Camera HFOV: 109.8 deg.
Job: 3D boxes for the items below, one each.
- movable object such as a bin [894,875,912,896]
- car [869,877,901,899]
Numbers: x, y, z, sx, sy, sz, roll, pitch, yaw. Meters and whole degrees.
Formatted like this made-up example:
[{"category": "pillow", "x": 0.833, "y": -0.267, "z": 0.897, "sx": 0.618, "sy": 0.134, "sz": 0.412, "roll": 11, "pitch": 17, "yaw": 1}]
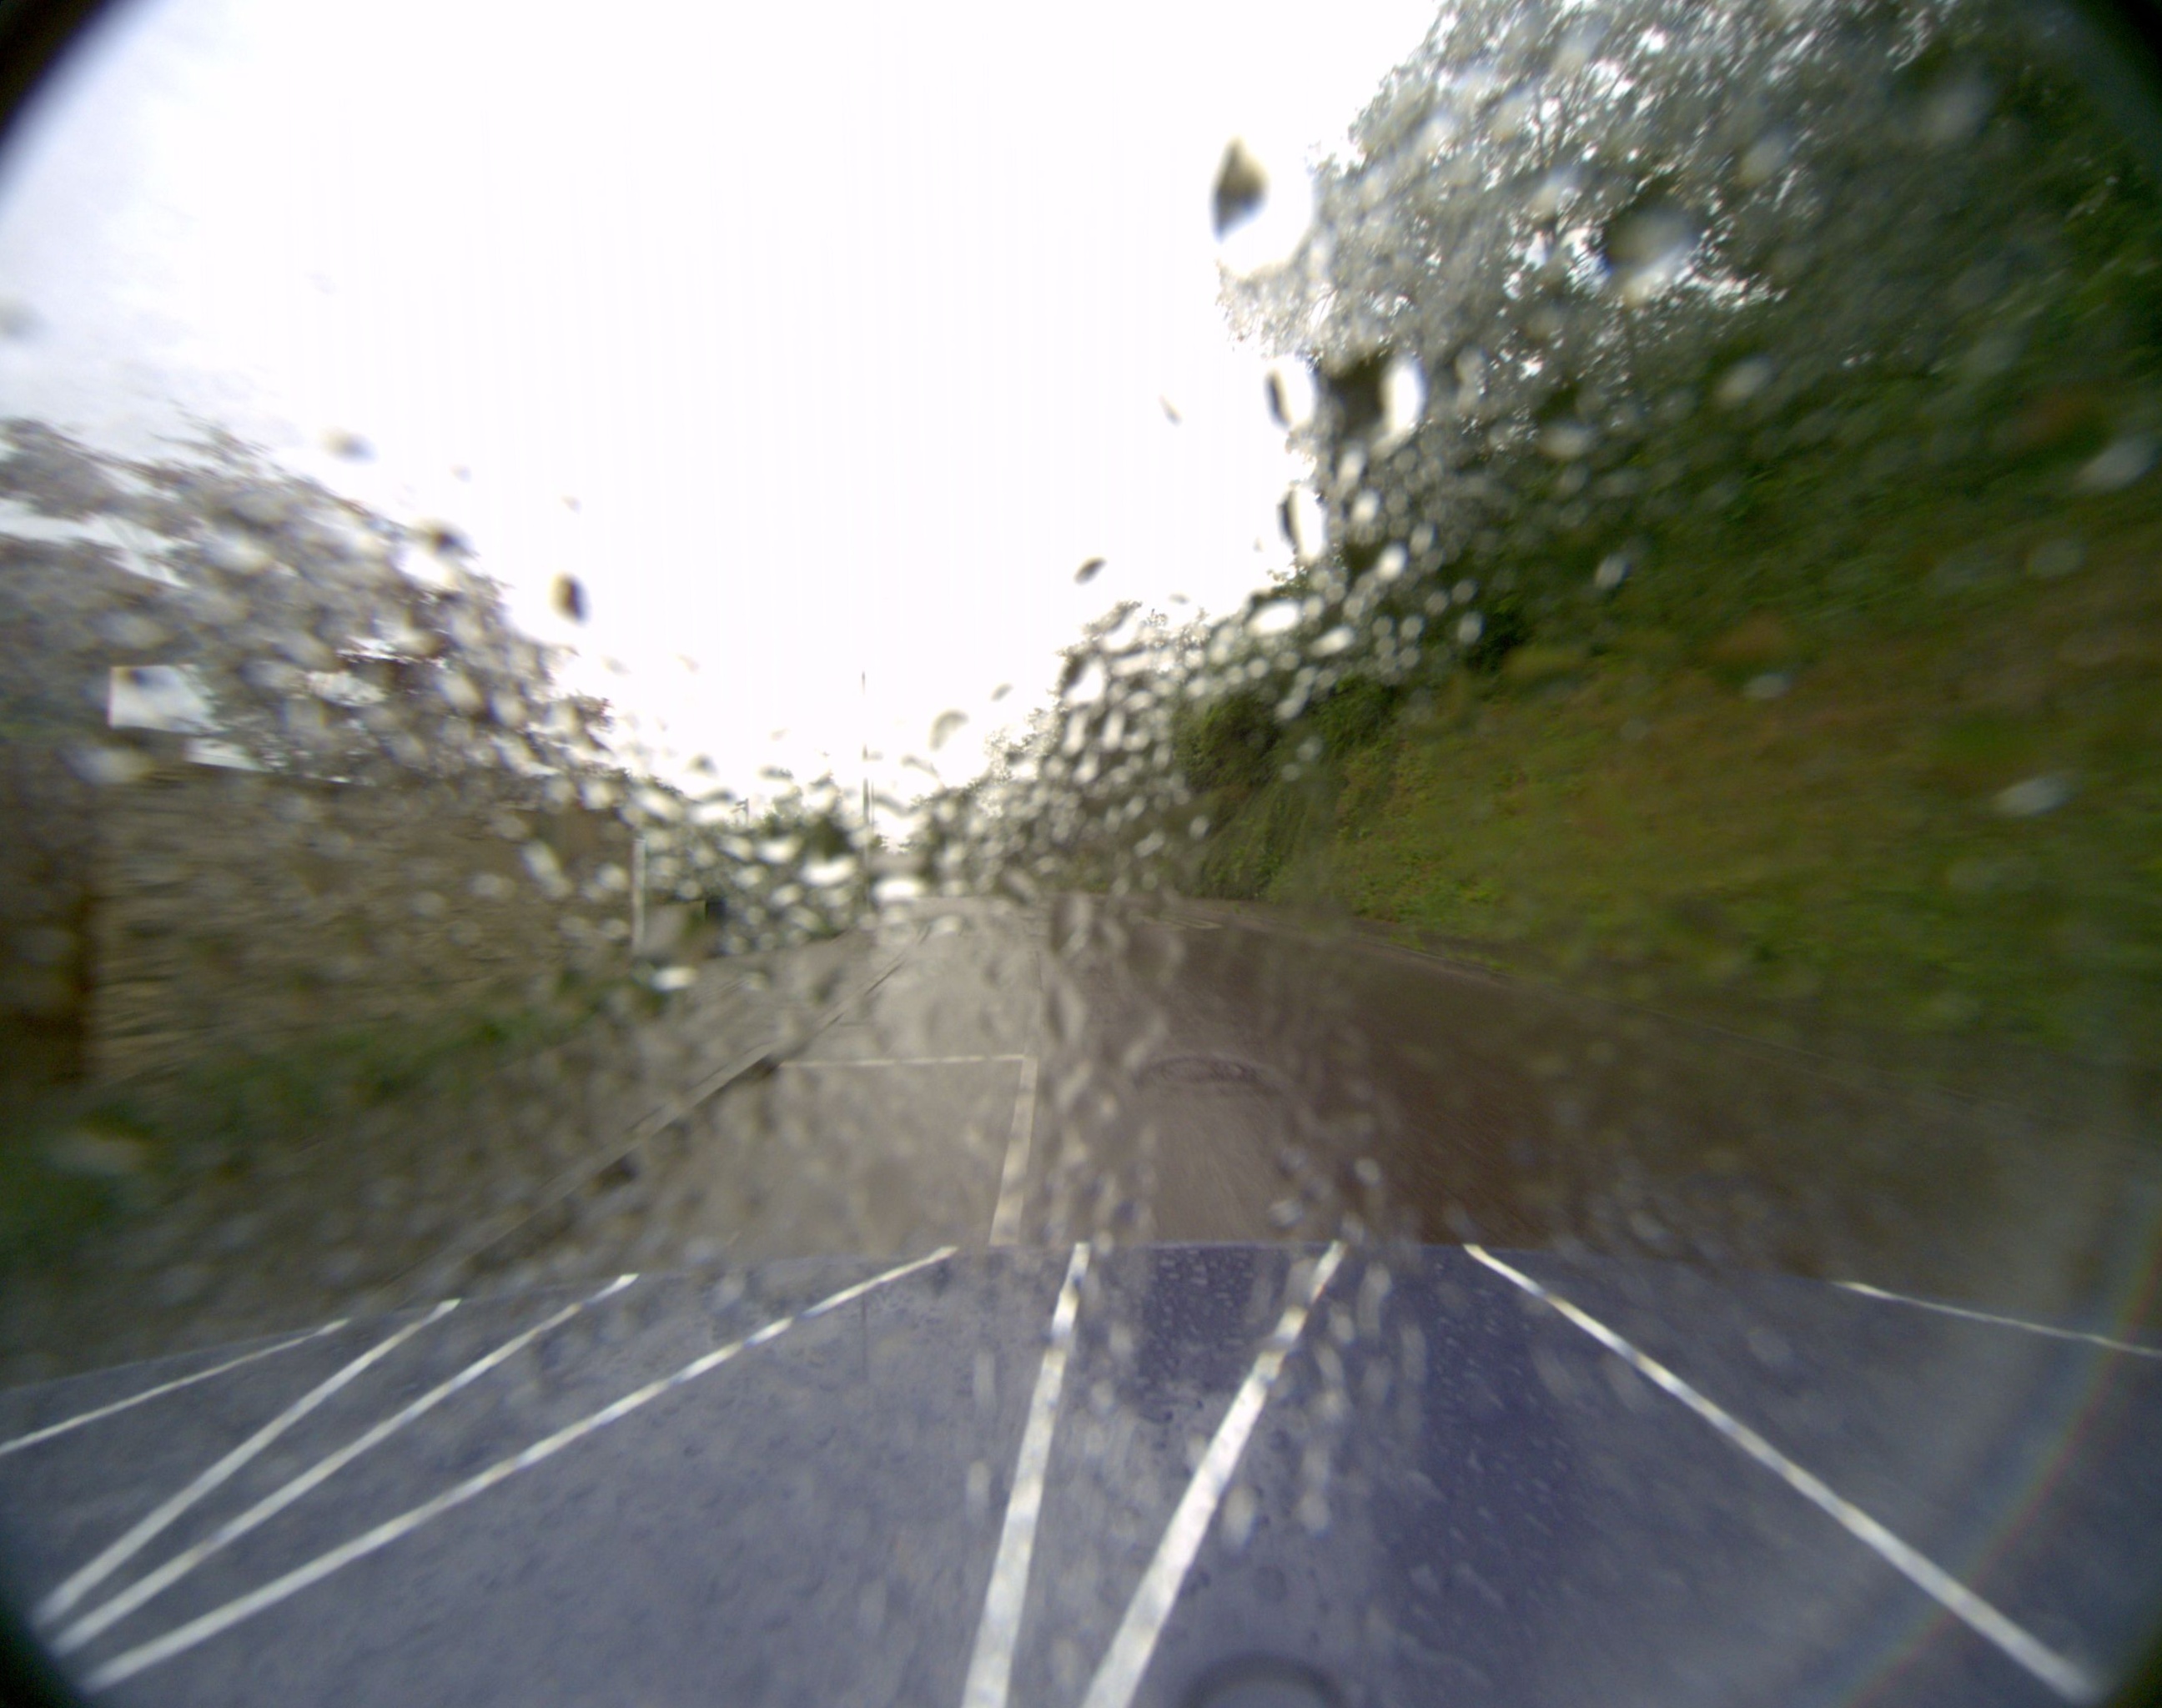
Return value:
[{"category": "movable object such as a bin", "x": -9.220, "y": 1.640, "z": 39.445, "sx": 0.793, "sy": 1.088, "sz": 0.674, "roll": 3, "pitch": -3, "yaw": -19}, {"category": "car", "x": -15.611, "y": 2.741, "z": 60.441, "sx": 1.883, "sy": 1.581, "sz": 4.474, "roll": 0, "pitch": -5, "yaw": -22}]
